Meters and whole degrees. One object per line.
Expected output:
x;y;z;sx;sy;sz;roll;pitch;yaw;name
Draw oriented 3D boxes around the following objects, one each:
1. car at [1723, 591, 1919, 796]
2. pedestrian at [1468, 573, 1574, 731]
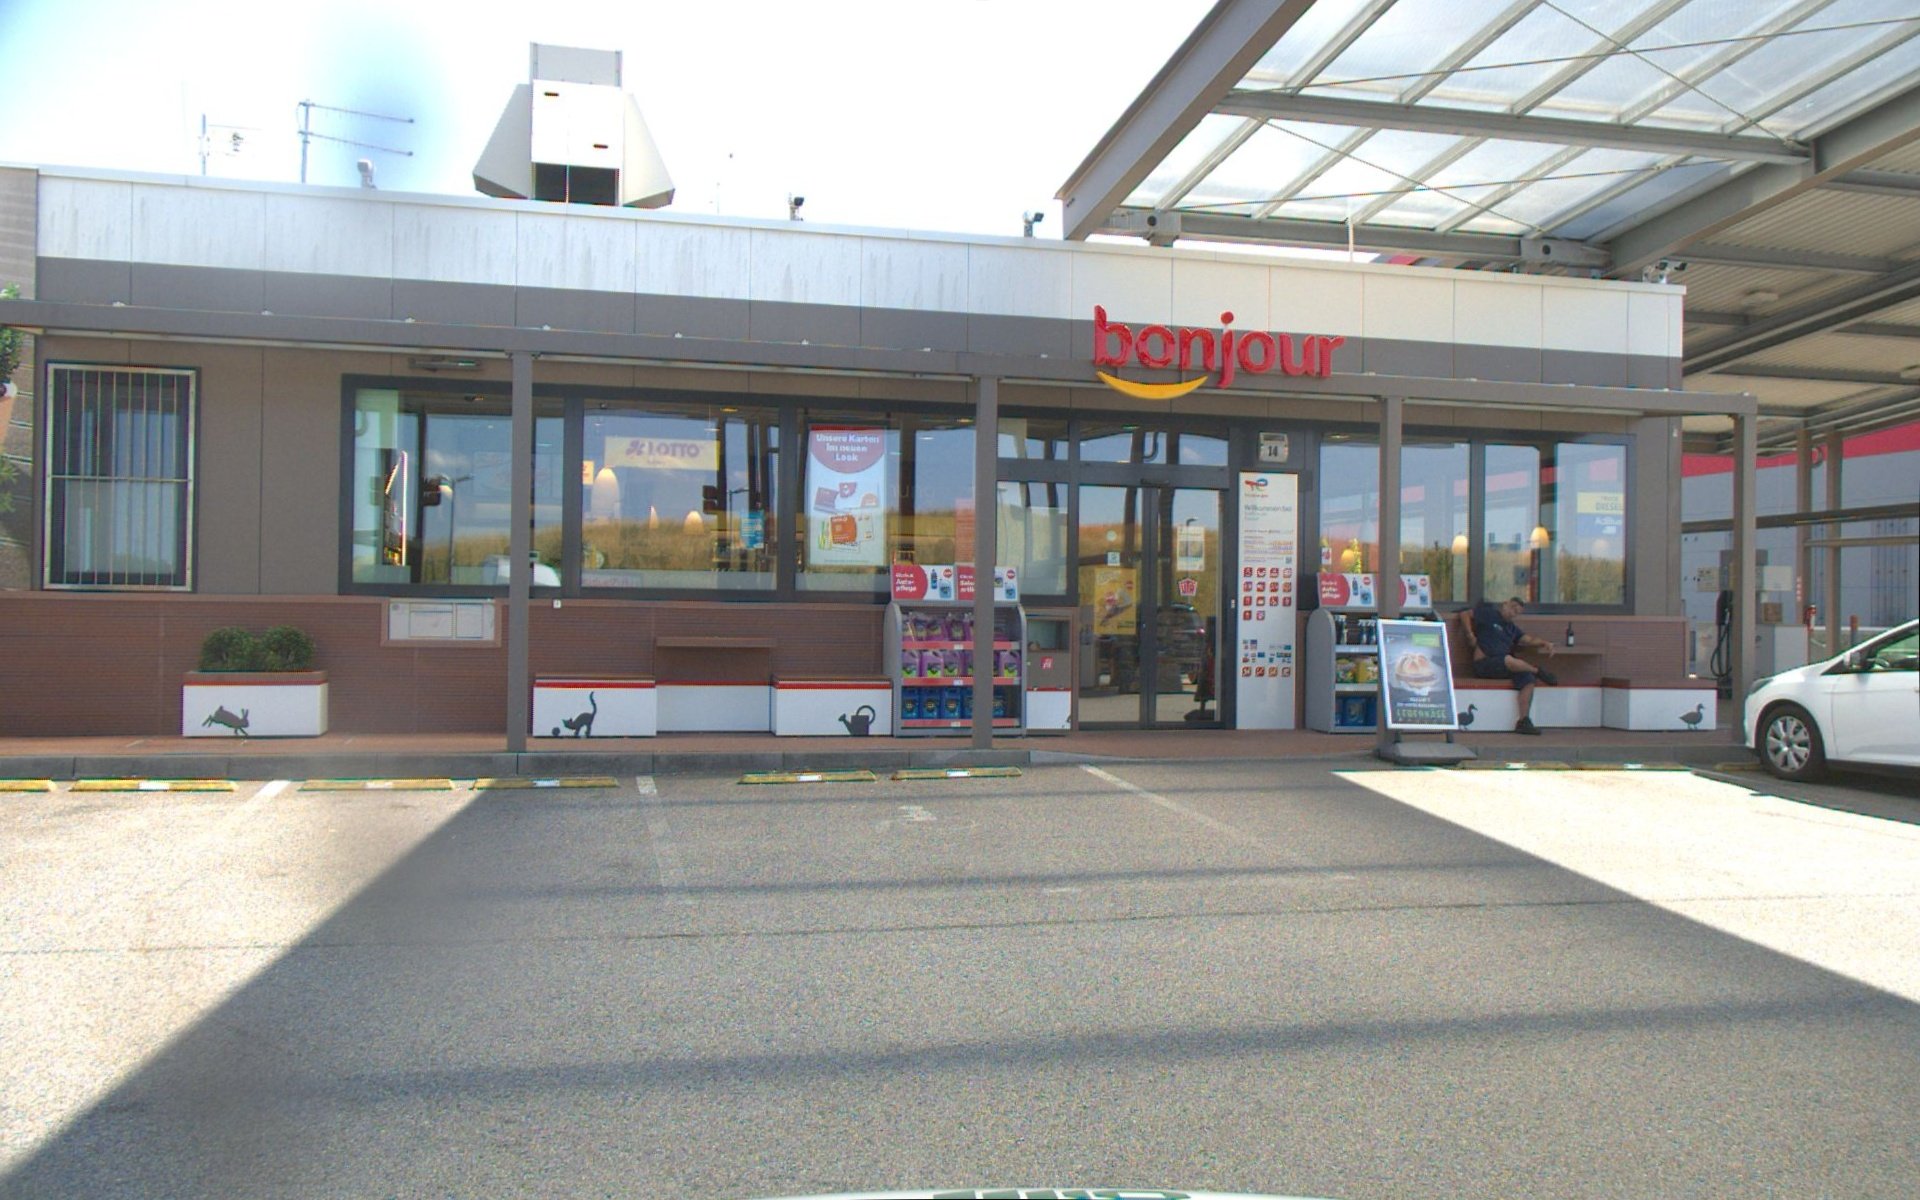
7.963;0.698;12.155;1.803;1.482;4.296;0;0;-20;car
5.311;0.479;15.673;0.689;1.457;0.670;0;0;-15;pedestrian
